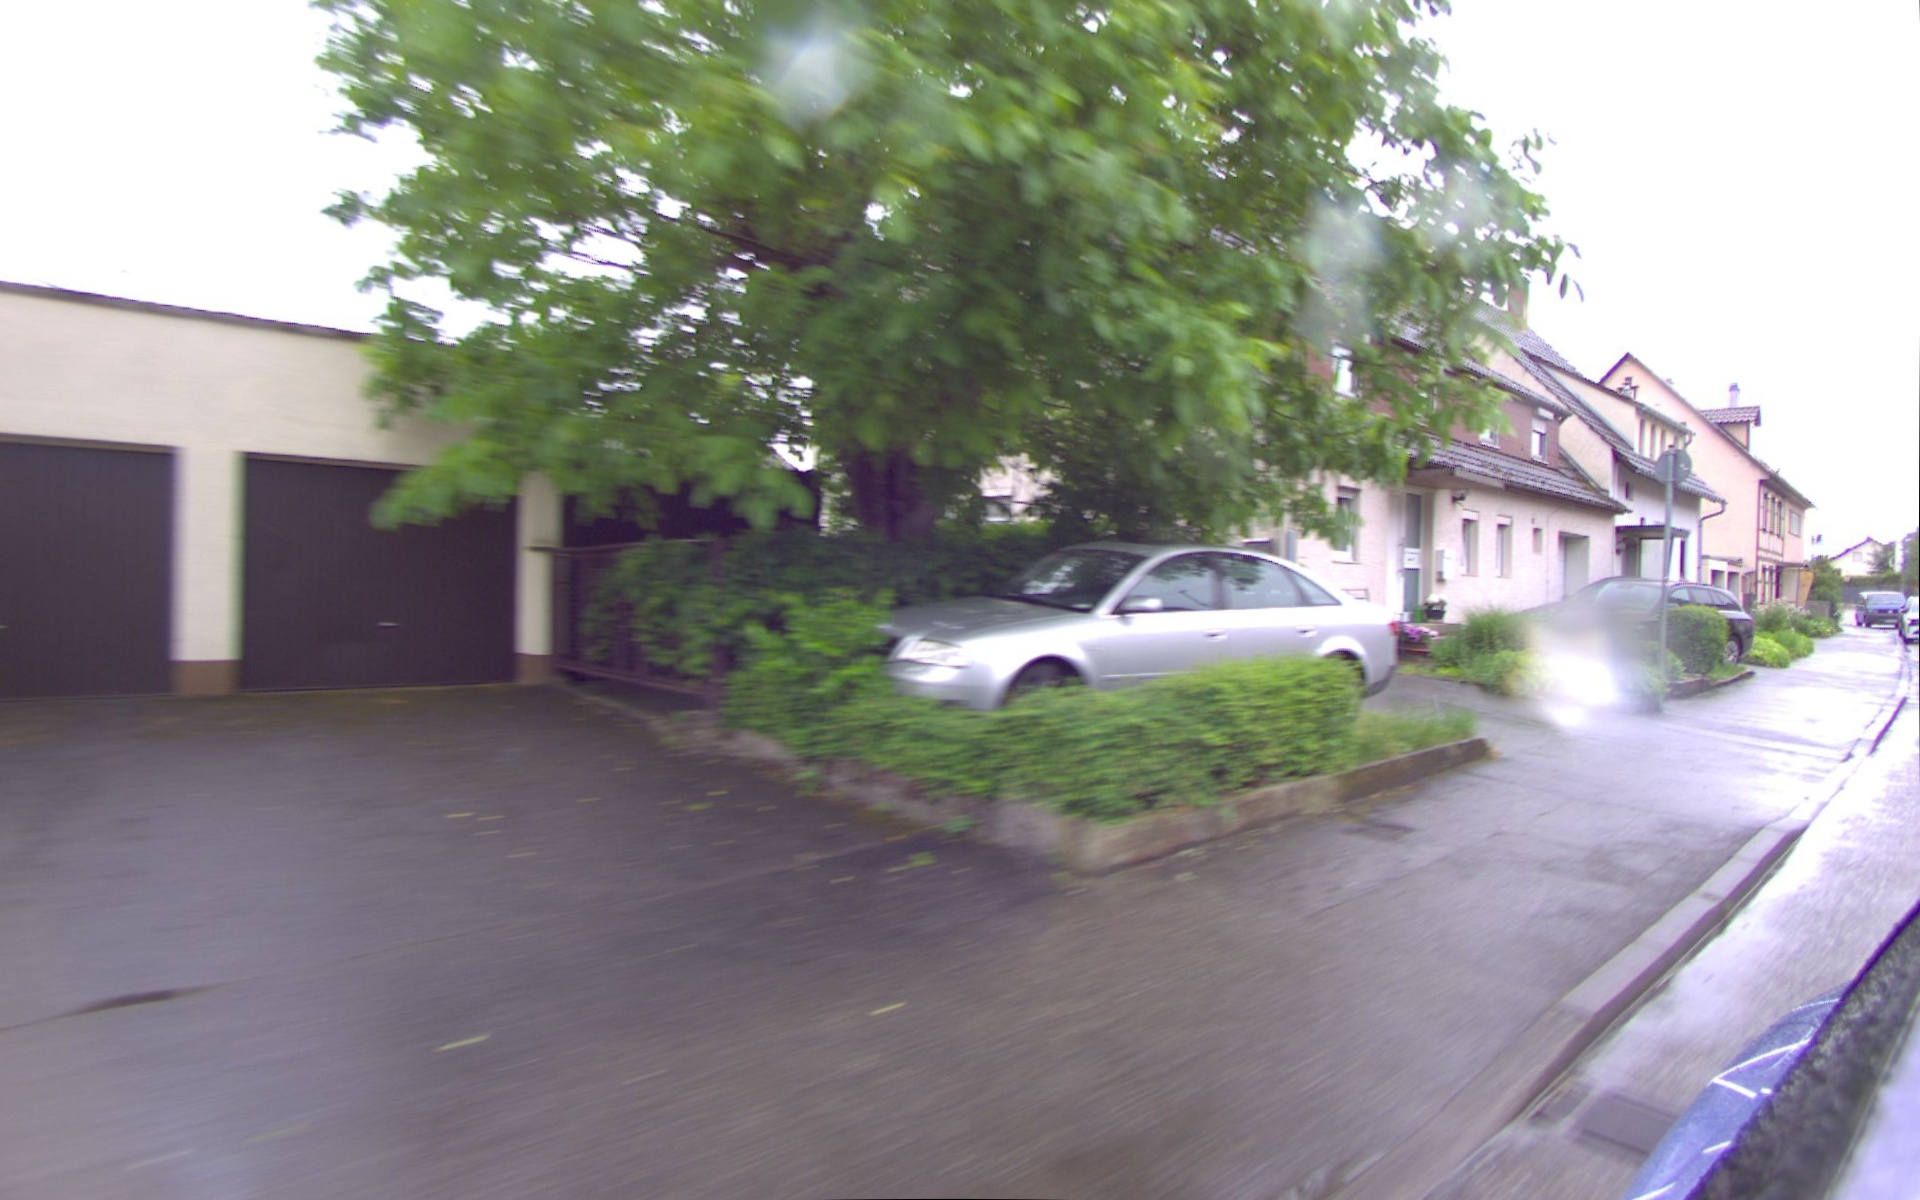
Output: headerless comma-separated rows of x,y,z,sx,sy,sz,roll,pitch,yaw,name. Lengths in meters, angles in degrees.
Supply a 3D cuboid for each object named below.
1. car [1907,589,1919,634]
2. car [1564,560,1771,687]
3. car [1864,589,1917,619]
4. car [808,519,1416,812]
34.516,0.404,35.371,1.994,1.549,3.936,1,1,44,car
11.499,0.294,16.346,4.003,1.752,1.995,0,2,-44,car
50.042,0.214,54.485,1.992,1.549,3.939,0,0,42,car
1.238,0.369,7.853,4.388,1.732,1.916,0,1,-28,car
